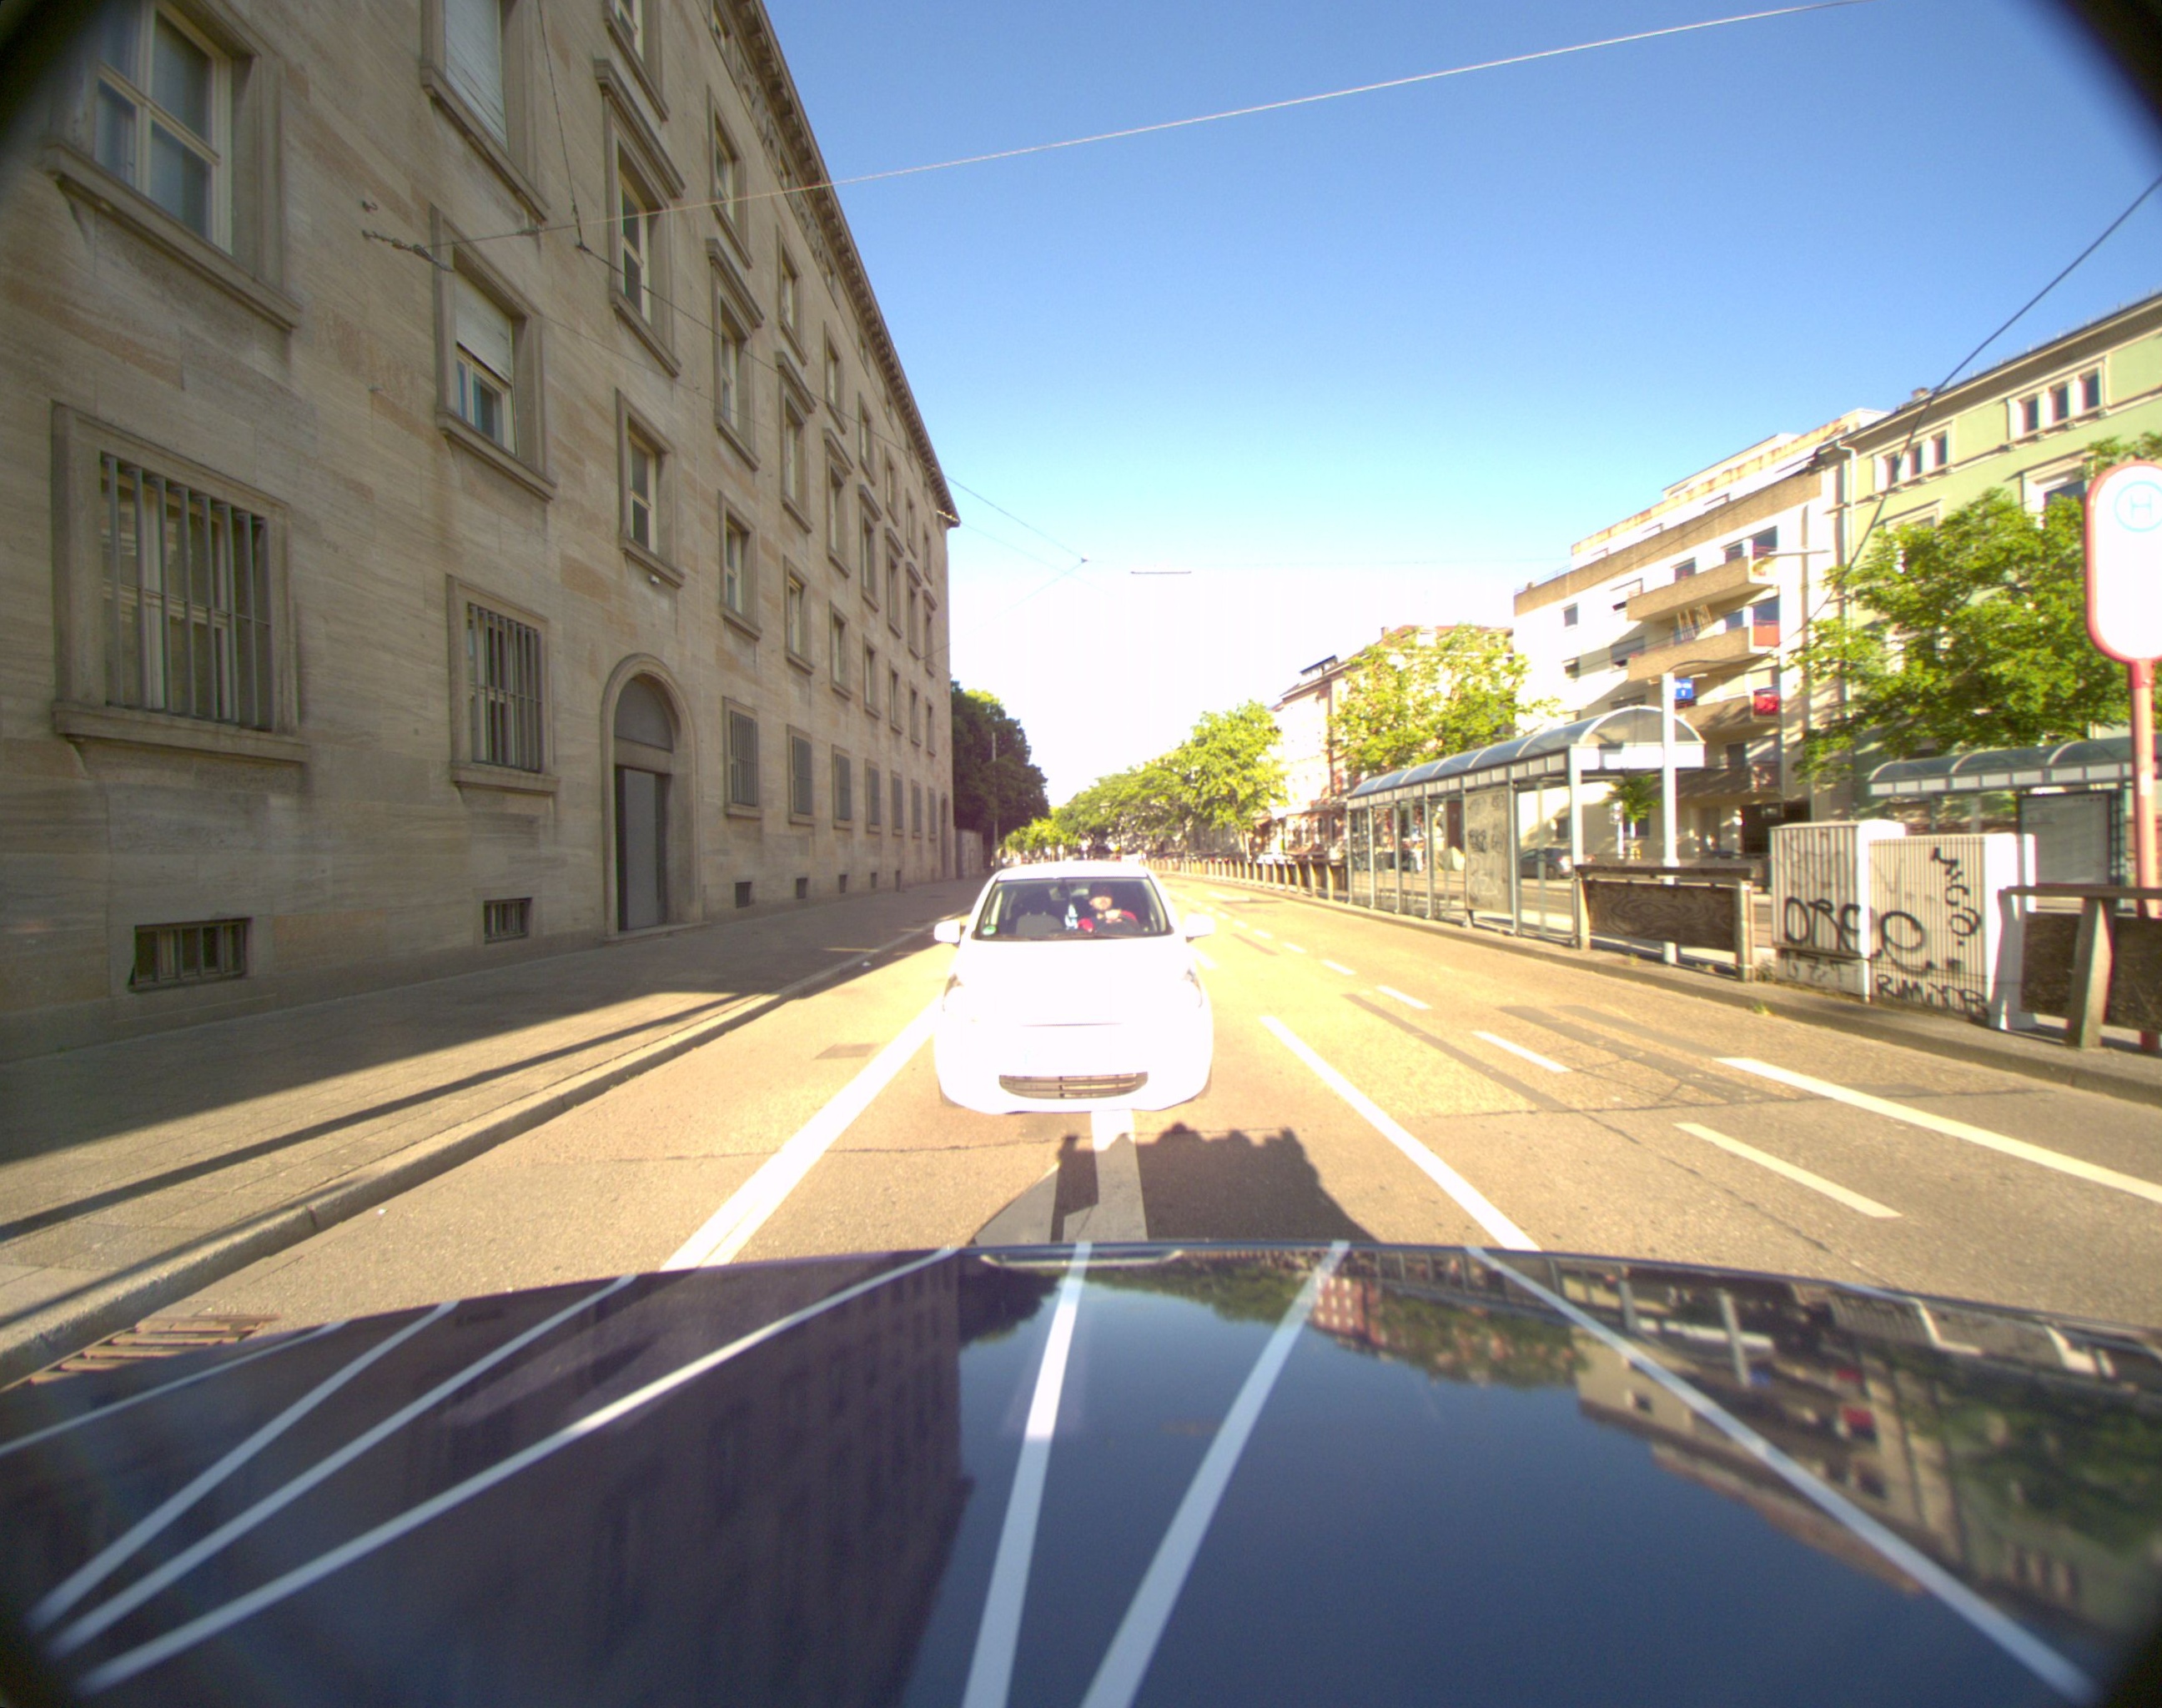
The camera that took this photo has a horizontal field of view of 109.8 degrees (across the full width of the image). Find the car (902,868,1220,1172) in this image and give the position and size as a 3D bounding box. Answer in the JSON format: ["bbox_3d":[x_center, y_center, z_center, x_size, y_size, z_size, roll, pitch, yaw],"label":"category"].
[{"bbox_3d":[-0.078,0.906,5.791,1.612,1.462,3.631,-2,0,1],"label":"car"}]

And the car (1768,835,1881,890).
[{"bbox_3d":[23.879,0.228,24.386,3.605,1.558,1.627,-3,1,-29],"label":"car"}]

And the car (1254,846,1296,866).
[{"bbox_3d":[16.250,0.161,63.460,3.607,1.558,1.627,-3,1,-42],"label":"car"}]

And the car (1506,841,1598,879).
[{"bbox_3d":[20.909,0.236,33.916,1.631,1.558,3.598,-2,1,-5],"label":"car"}]

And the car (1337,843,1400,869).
[{"bbox_3d":[19.537,0.129,51.706,3.599,1.558,1.630,-2,1,-7],"label":"car"}]

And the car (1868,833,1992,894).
[{"bbox_3d":[24.458,0.234,21.874,3.605,1.558,1.627,-3,1,-29],"label":"car"}]
